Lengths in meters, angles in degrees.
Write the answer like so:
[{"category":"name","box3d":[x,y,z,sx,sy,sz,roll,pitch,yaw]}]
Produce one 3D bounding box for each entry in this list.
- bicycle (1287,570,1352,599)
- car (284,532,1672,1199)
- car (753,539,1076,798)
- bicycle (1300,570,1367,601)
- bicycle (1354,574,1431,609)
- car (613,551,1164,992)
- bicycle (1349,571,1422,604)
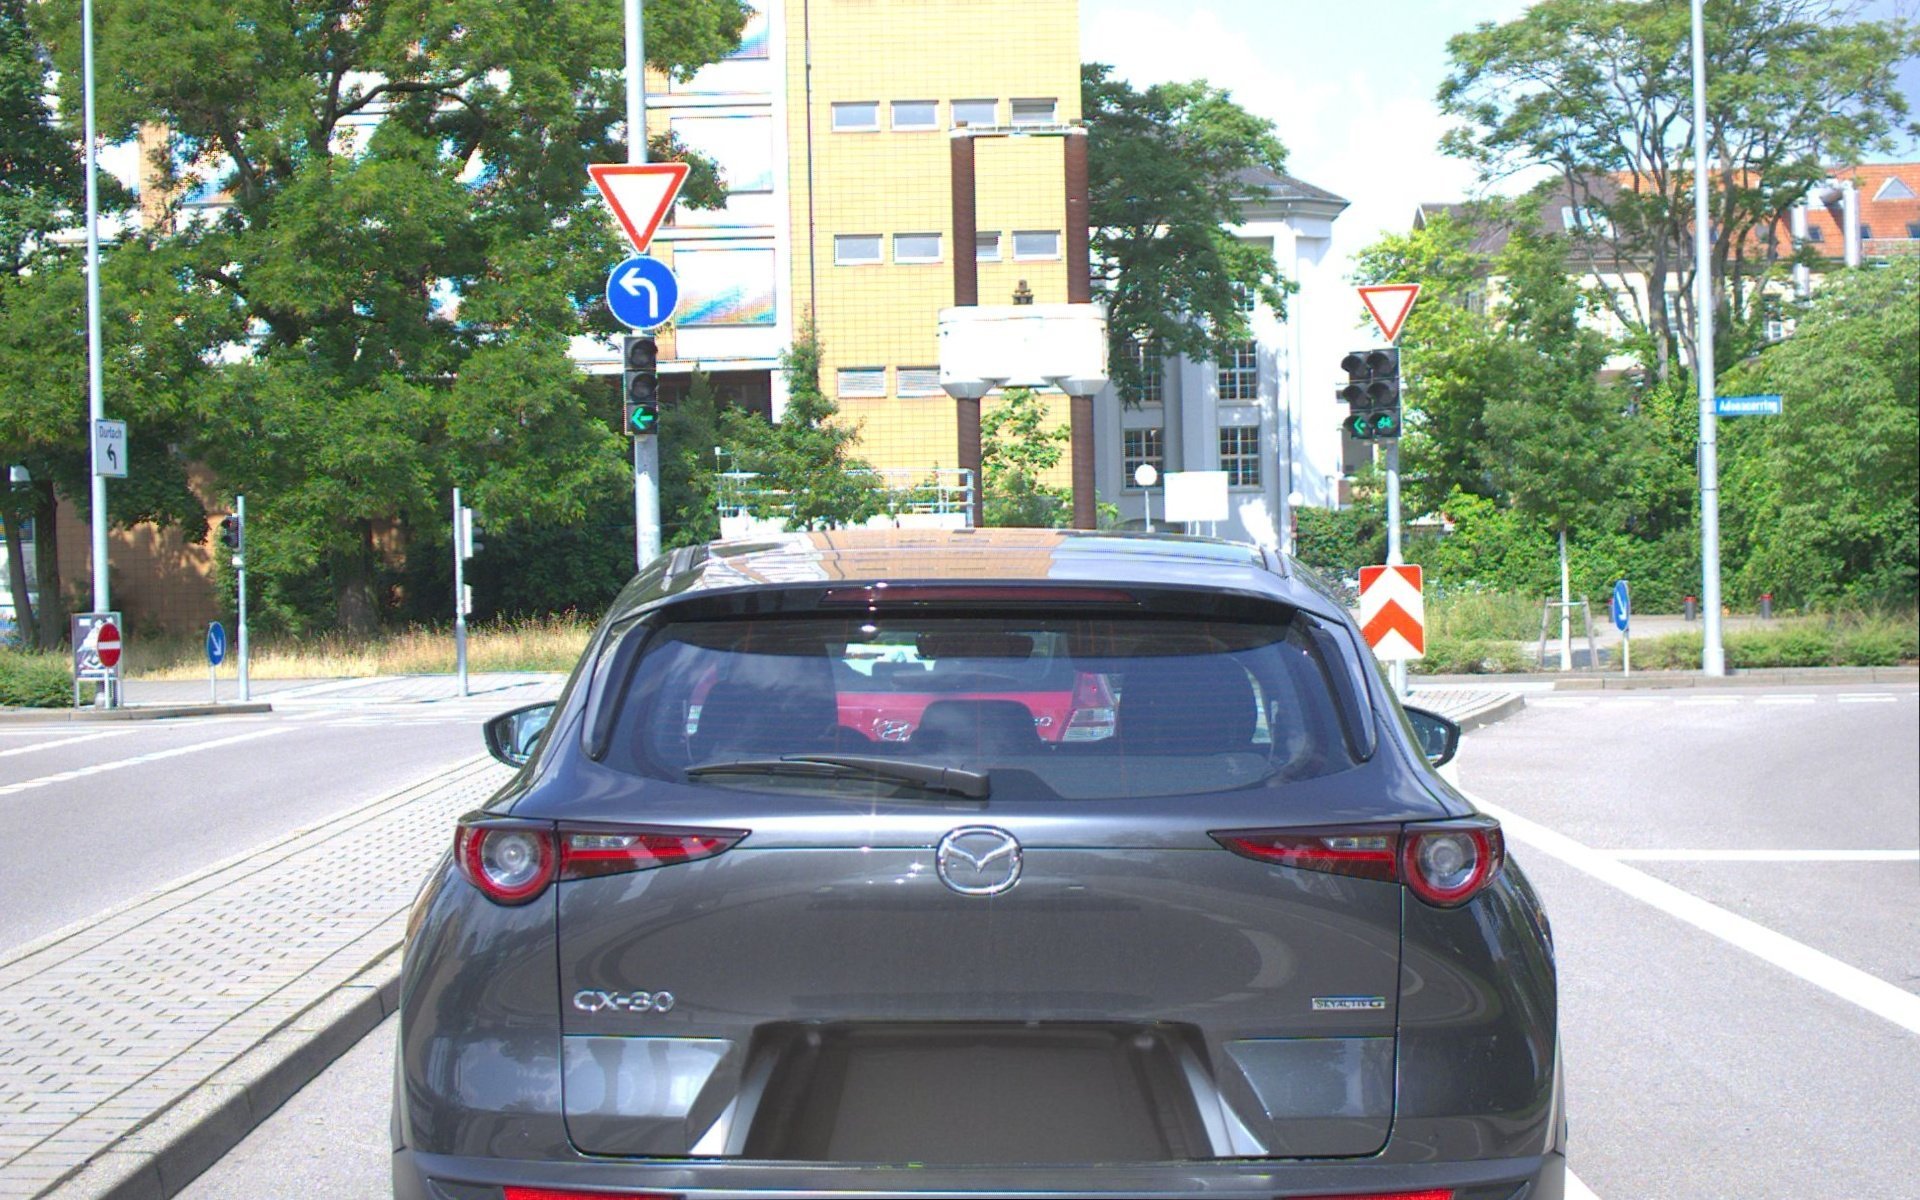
[{"category":"bicycle","box3d":[12.064,-0.521,115.414,2.055,0.933,0.804,-1,0,-1]},{"category":"car","box3d":[-0.006,0.653,6.622,1.806,1.503,4.205,1,1,-1]},{"category":"car","box3d":[-0.242,0.379,22.267,1.848,1.467,4.335,-2,1,1]},{"category":"bicycle","box3d":[12.002,-0.472,110.555,2.055,0.933,0.804,-1,0,-1]},{"category":"bicycle","box3d":[12.365,-0.251,98.362,2.055,0.933,0.804,-1,0,-1]},{"category":"car","box3d":[-0.196,0.543,13.515,1.816,1.434,4.067,1,1,1]},{"category":"bicycle","box3d":[12.672,-0.383,102.357,2.055,0.933,0.804,-1,0,-1]}]
